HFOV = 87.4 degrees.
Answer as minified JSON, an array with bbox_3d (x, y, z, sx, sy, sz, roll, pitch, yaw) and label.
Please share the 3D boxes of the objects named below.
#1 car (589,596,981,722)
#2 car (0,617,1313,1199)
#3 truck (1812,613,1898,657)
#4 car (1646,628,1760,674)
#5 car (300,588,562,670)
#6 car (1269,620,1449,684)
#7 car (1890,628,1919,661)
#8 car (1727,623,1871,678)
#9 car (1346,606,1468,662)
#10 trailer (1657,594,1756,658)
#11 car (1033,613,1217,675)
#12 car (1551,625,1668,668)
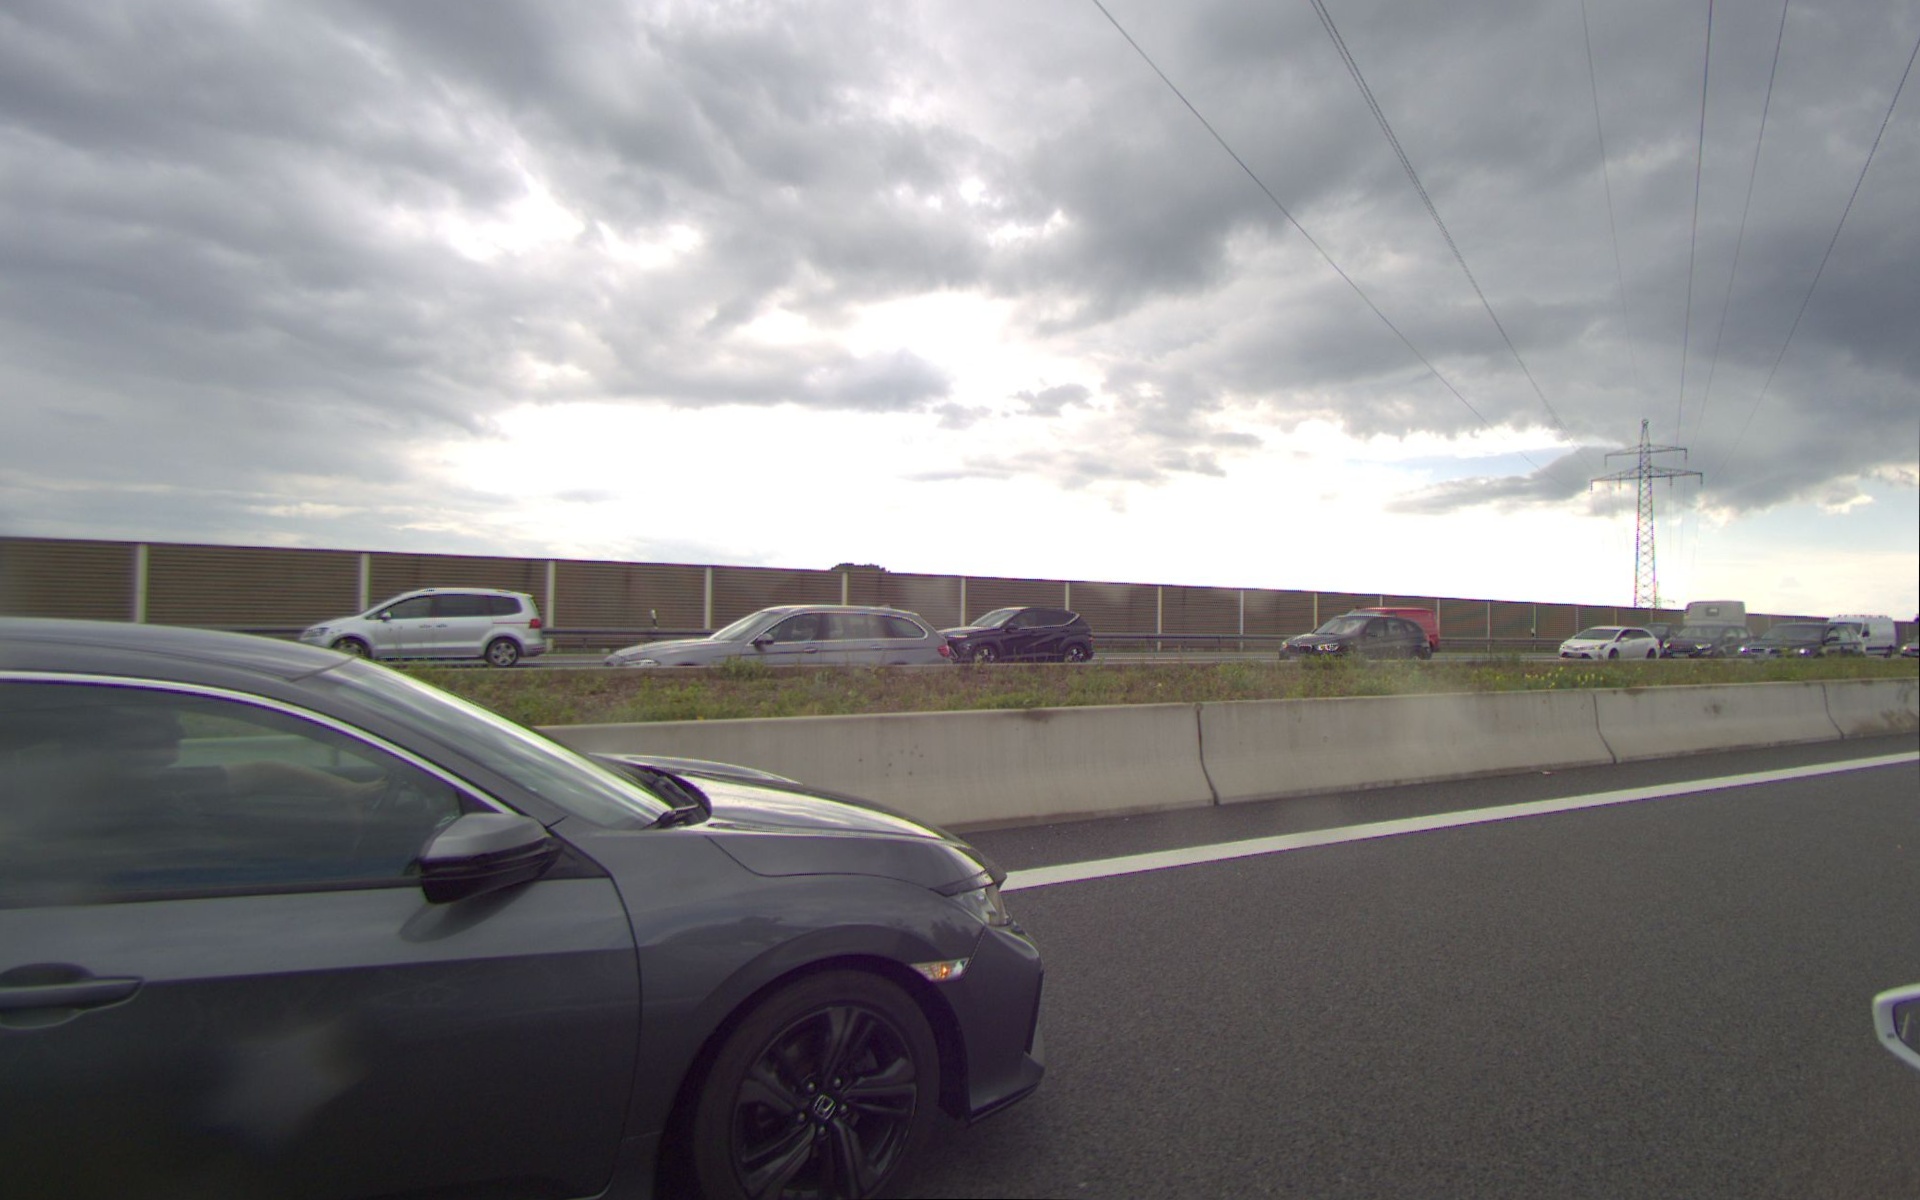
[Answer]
[{"bbox_3d":[-2.311,0.757,13.873,5.027,1.473,1.756,2,0,-31],"label":"car"},{"bbox_3d":[-1.542,0.758,2.478,5.001,1.387,1.752,1,-1,-31],"label":"car"},{"bbox_3d":[54.006,2.097,60.580,6.191,2.484,2.092,2,0,-31],"label":"truck"},{"bbox_3d":[26.149,1.784,35.320,4.185,1.473,1.756,2,0,-31],"label":"car"},{"bbox_3d":[-11.497,0.635,22.070,4.887,1.632,1.756,2,0,-31],"label":"car"},{"bbox_3d":[10.413,1.317,26.091,4.887,1.473,1.756,2,0,-31],"label":"car"},{"bbox_3d":[45.551,2.094,46.818,4.887,1.473,1.955,2,0,-31],"label":"car"},{"bbox_3d":[25.338,1.503,30.292,4.887,1.473,1.817,2,0,-31],"label":"car"},{"bbox_3d":[17.133,1.288,38.449,4.887,1.993,1.756,2,0,-31],"label":"car"},{"bbox_3d":[37.026,1.289,49.812,4.845,3.001,2.236,2,0,-31],"label":"trailer"},{"bbox_3d":[4.455,1.156,26.819,4.887,1.473,1.756,2,0,-31],"label":"car"},{"bbox_3d":[24.714,1.755,38.188,4.887,1.473,1.756,2,0,-31],"label":"car"}]
